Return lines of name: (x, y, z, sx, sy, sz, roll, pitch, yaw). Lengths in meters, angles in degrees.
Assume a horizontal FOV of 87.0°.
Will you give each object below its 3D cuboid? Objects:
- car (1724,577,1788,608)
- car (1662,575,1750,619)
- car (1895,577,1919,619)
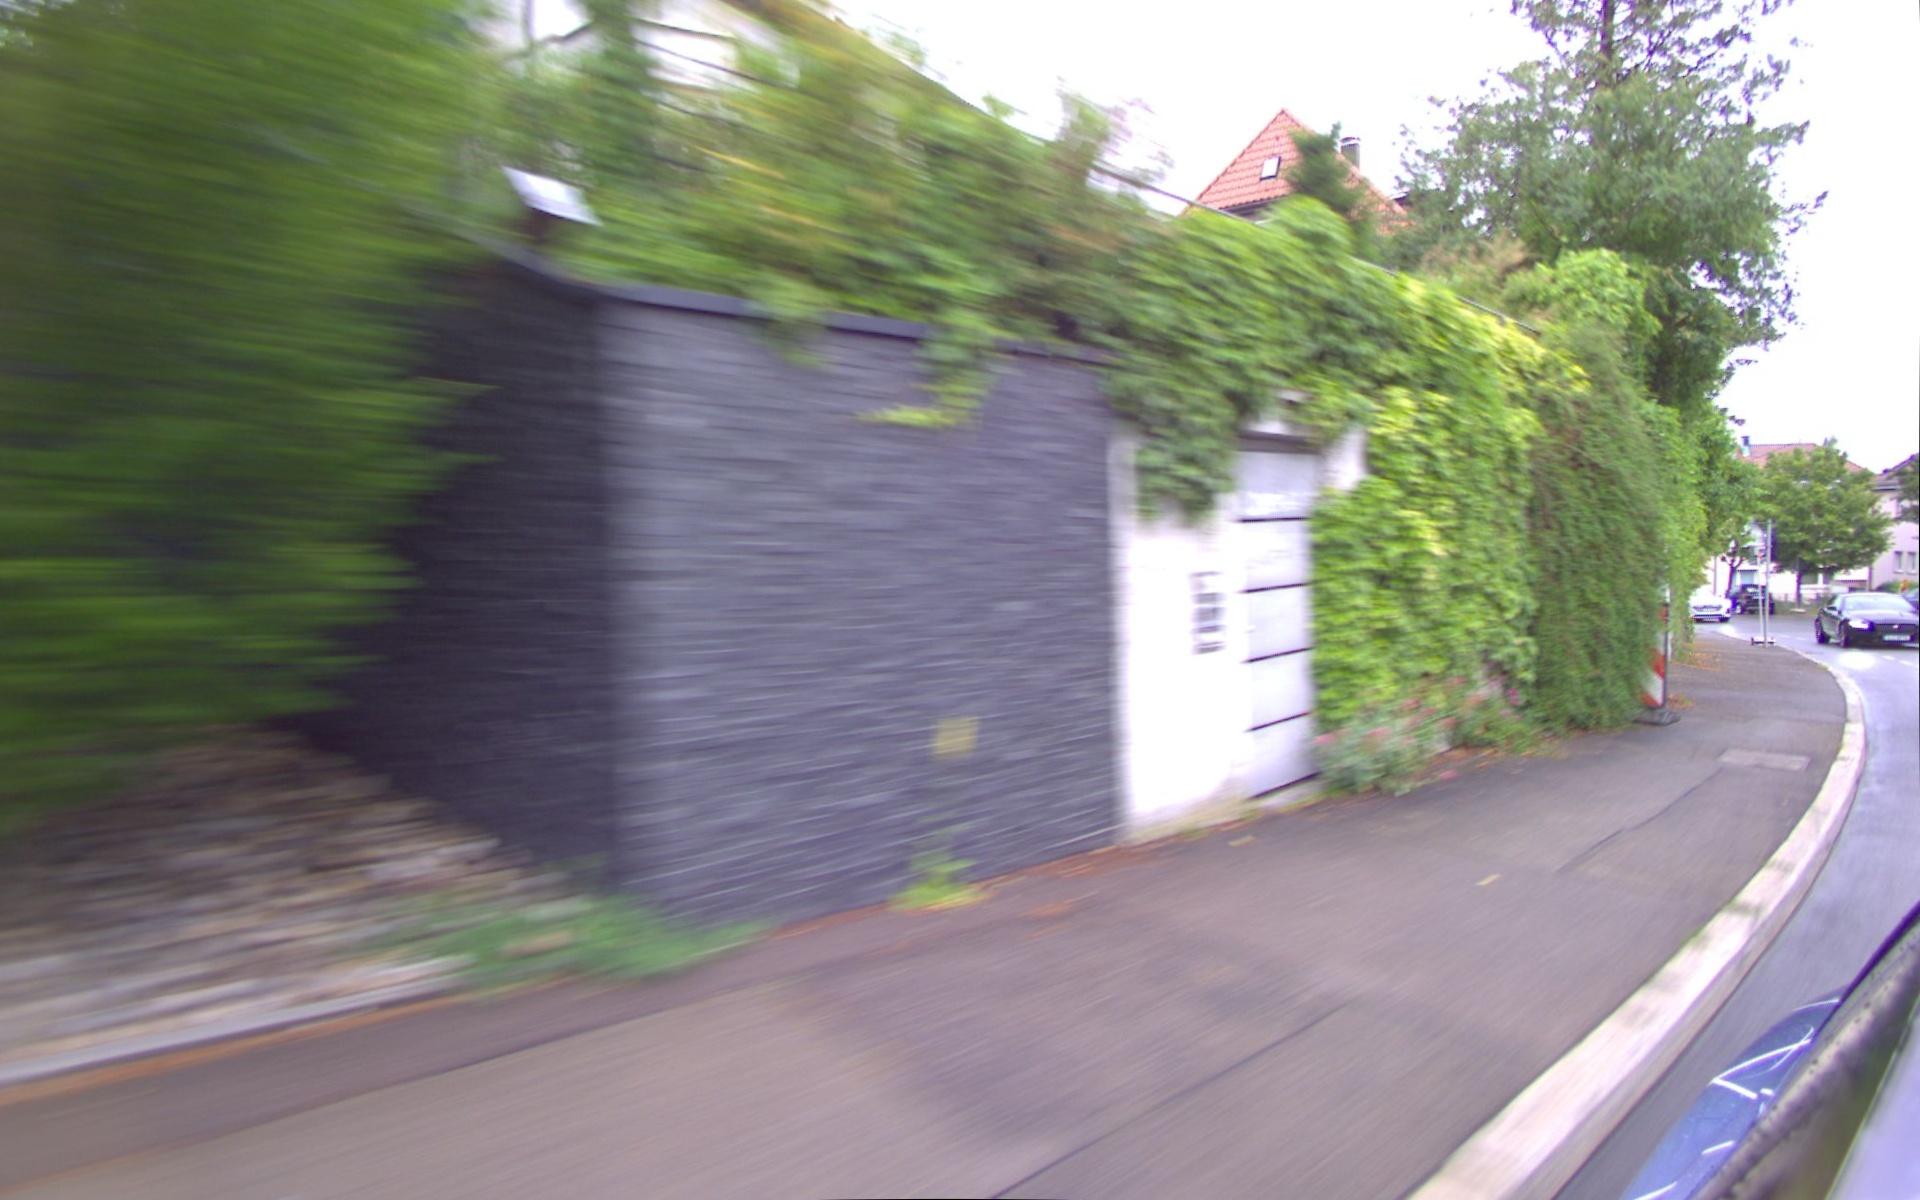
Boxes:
car: (41.641, -0.430, 53.010, 1.501, 1.554, 3.023, 1, 1, 15)
car: (32.864, -0.172, 44.734, 1.996, 1.760, 4.565, -3, 0, 23)
car: (35.585, -0.078, 36.115, 1.717, 1.502, 4.498, -2, 1, 22)
